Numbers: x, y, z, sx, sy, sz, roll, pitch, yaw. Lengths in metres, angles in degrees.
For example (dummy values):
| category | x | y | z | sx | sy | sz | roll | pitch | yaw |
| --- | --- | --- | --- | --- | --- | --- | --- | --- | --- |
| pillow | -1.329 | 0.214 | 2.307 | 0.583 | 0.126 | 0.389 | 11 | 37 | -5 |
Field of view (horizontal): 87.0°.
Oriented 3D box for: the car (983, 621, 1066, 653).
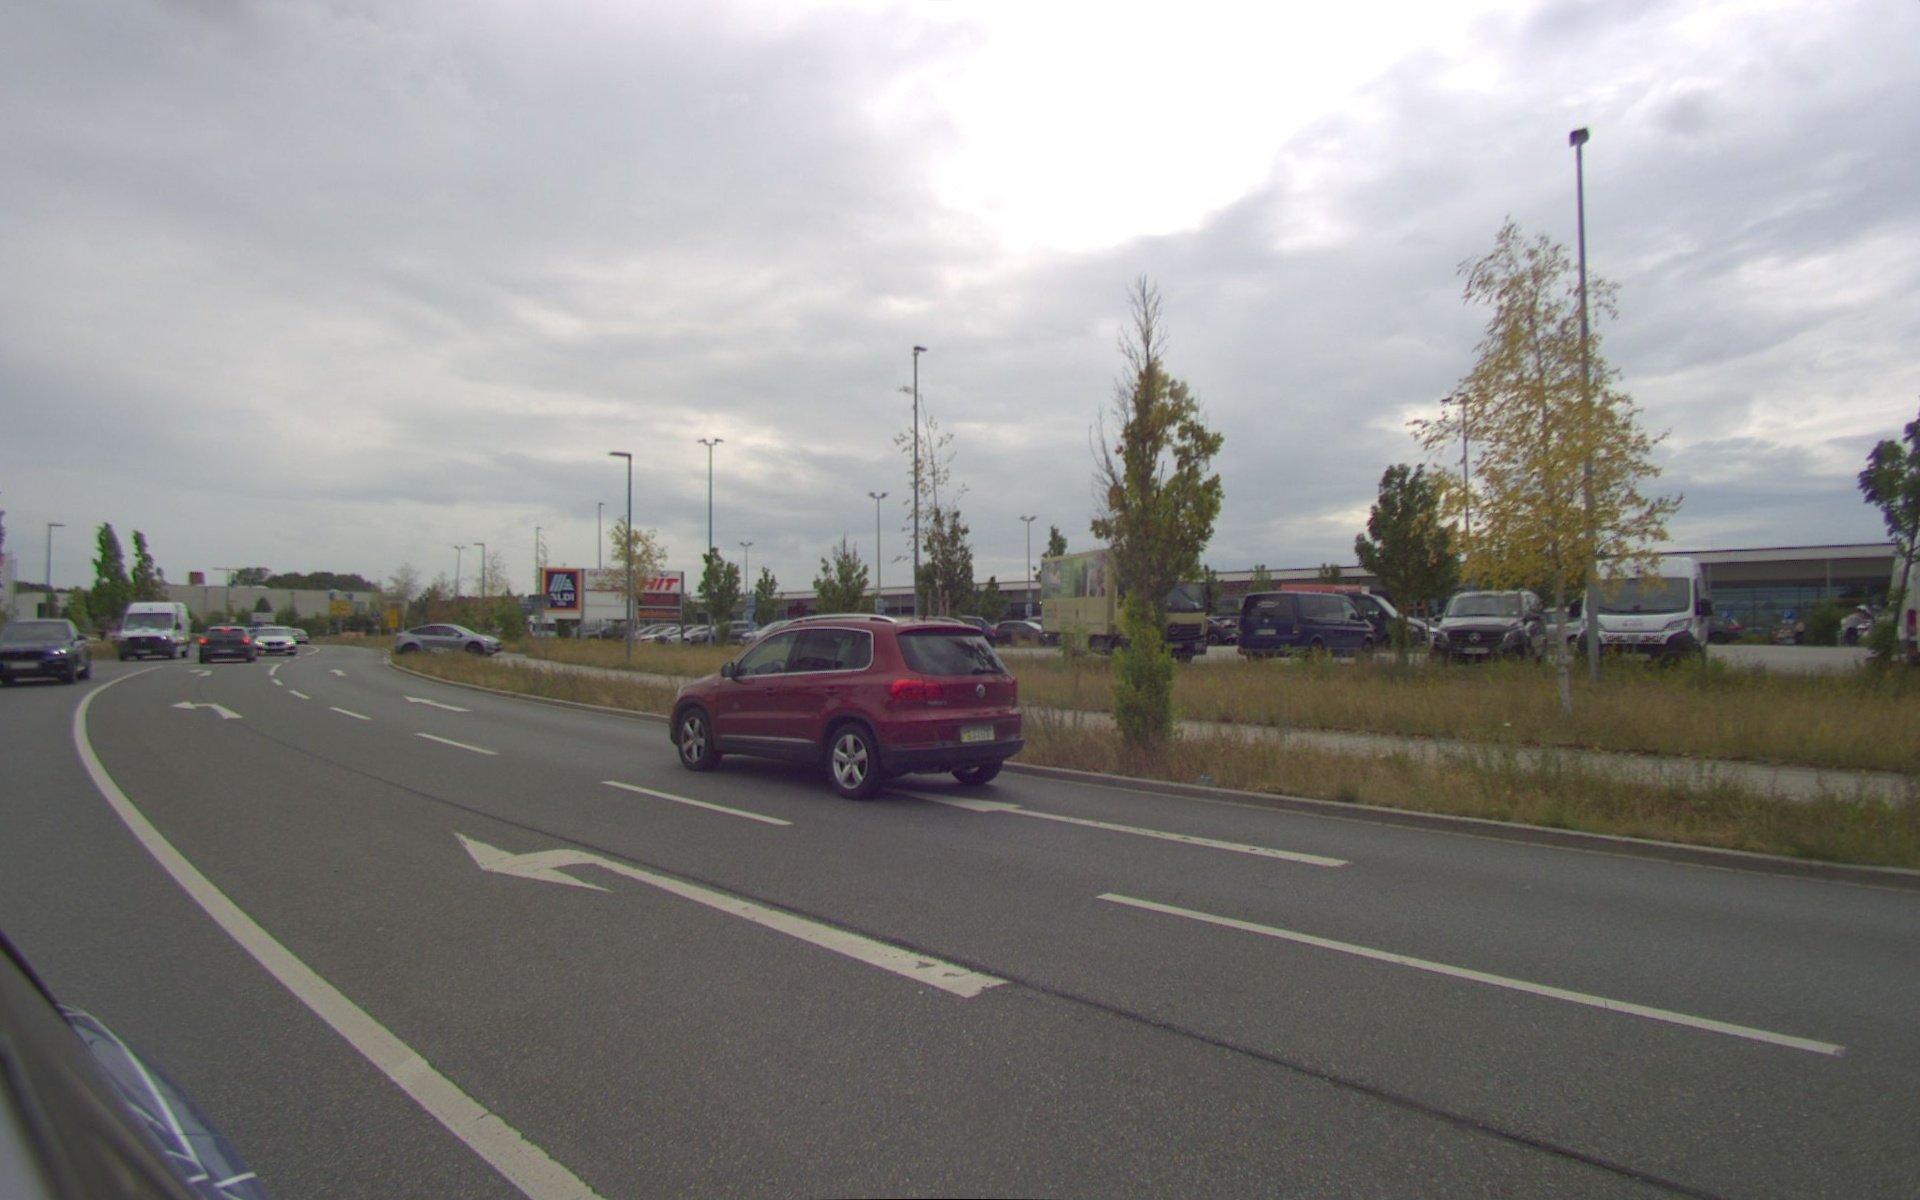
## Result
| category | x | y | z | sx | sy | sz | roll | pitch | yaw |
| --- | --- | --- | --- | --- | --- | --- | --- | --- | --- |
| car | 3.388 | 1.992 | 53.811 | 3.992 | 1.619 | 1.975 | -2 | -3 | 36 |

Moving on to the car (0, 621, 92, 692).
| category | x | y | z | sx | sy | sz | roll | pitch | yaw |
| --- | --- | --- | --- | --- | --- | --- | --- | --- | --- |
| car | -23.807 | 1.427 | 25.992 | 1.967 | 1.677 | 4.009 | 0 | -2 | -36 |

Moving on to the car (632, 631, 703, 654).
| category | x | y | z | sx | sy | sz | roll | pitch | yaw |
| --- | --- | --- | --- | --- | --- | --- | --- | --- | --- |
| car | -19.783 | 2.867 | 68.512 | 4.259 | 1.468 | 2.016 | 1 | -3 | -33 |

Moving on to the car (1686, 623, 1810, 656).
| category | x | y | z | sx | sy | sz | roll | pitch | yaw |
| --- | --- | --- | --- | --- | --- | --- | --- | --- | --- |
| car | 41.414 | 2.089 | 53.306 | 5.050 | 1.663 | 1.974 | -1 | -3 | 38 |

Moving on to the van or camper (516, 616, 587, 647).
| category | x | y | z | sx | sy | sz | roll | pitch | yaw |
| --- | --- | --- | --- | --- | --- | --- | --- | --- | --- |
| van or camper | -38.537 | 2.995 | 95.473 | 5.779 | 2.821 | 2.247 | 2 | -2 | -41 |

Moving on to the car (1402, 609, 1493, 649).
| category | x | y | z | sx | sy | sz | roll | pitch | yaw |
| --- | --- | --- | --- | --- | --- | --- | --- | --- | --- |
| car | 25.610 | 1.552 | 53.193 | 3.992 | 2.029 | 1.976 | -2 | -2 | 36 |

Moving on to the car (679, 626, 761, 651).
| category | x | y | z | sx | sy | sz | roll | pitch | yaw |
| --- | --- | --- | --- | --- | --- | --- | --- | --- | --- |
| car | -14.175 | 2.264 | 59.884 | 4.297 | 1.402 | 2.172 | 1 | -3 | -30 |

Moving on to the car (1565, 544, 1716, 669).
| category | x | y | z | sx | sy | sz | roll | pitch | yaw |
| --- | --- | --- | --- | --- | --- | --- | --- | --- | --- |
| car | 14.851 | 0.203 | 21.904 | 2.208 | 2.324 | 6.009 | -2 | -2 | 38 |

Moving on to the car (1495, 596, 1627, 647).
| category | x | y | z | sx | sy | sz | roll | pitch | yaw |
| --- | --- | --- | --- | --- | --- | --- | --- | --- | --- |
| car | 23.013 | 0.844 | 38.810 | 4.256 | 1.863 | 1.977 | -1 | -2 | 34 |

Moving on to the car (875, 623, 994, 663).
| category | x | y | z | sx | sy | sz | roll | pitch | yaw |
| --- | --- | --- | --- | --- | --- | --- | --- | --- | --- |
| car | -0.946 | 1.619 | 38.405 | 4.177 | 1.446 | 2.002 | 2 | -3 | -38 |

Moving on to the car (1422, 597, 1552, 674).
| category | x | y | z | sx | sy | sz | roll | pitch | yaw |
| --- | --- | --- | --- | --- | --- | --- | --- | --- | --- |
| car | 12.592 | 0.840 | 24.011 | 1.991 | 1.629 | 4.857 | -1 | -2 | 37 |

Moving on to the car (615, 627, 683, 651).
| category | x | y | z | sx | sy | sz | roll | pitch | yaw |
| --- | --- | --- | --- | --- | --- | --- | --- | --- | --- |
| car | -22.391 | 2.798 | 72.841 | 4.242 | 1.667 | 2.086 | 1 | -3 | -33 |

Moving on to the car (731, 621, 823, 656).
| category | x | y | z | sx | sy | sz | roll | pitch | yaw |
| --- | --- | --- | --- | --- | --- | --- | --- | --- | --- |
| car | -9.310 | 1.942 | 51.554 | 4.186 | 1.736 | 2.033 | 1 | -2 | -36 |

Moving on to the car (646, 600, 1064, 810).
| category | x | y | z | sx | sy | sz | roll | pitch | yaw |
| --- | --- | --- | --- | --- | --- | --- | --- | --- | --- |
| car | -1.222 | 0.950 | 10.269 | 4.326 | 1.682 | 1.779 | -2 | -5 | 43 |

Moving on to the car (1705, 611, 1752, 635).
| category | x | y | z | sx | sy | sz | roll | pitch | yaw |
| --- | --- | --- | --- | --- | --- | --- | --- | --- | --- |
| car | 52.323 | 1.592 | 68.883 | 2.001 | 1.619 | 3.942 | -2 | -3 | 44 |

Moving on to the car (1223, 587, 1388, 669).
| category | x | y | z | sx | sy | sz | roll | pitch | yaw |
| --- | --- | --- | --- | --- | --- | --- | --- | --- | --- |
| car | 9.359 | 0.757 | 27.215 | 4.843 | 2.005 | 2.181 | 2 | -3 | -43 |

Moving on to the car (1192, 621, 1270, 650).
| category | x | y | z | sx | sy | sz | roll | pitch | yaw |
| --- | --- | --- | --- | --- | --- | --- | --- | --- | --- |
| car | 15.871 | 2.102 | 59.398 | 3.992 | 1.619 | 1.975 | -2 | -3 | 36 |

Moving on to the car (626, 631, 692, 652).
| category | x | y | z | sx | sy | sz | roll | pitch | yaw |
| --- | --- | --- | --- | --- | --- | --- | --- | --- | --- |
| car | -21.007 | 2.881 | 70.682 | 4.027 | 1.402 | 2.006 | 1 | -3 | -30 |

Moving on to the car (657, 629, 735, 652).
| category | x | y | z | sx | sy | sz | roll | pitch | yaw |
| --- | --- | --- | --- | --- | --- | --- | --- | --- | --- |
| car | -16.473 | 2.534 | 63.162 | 4.255 | 1.350 | 2.032 | 1 | -3 | -35 |

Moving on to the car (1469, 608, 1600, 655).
| category | x | y | z | sx | sy | sz | roll | pitch | yaw |
| --- | --- | --- | --- | --- | --- | --- | --- | --- | --- |
| car | 20.612 | 1.124 | 36.363 | 3.990 | 1.614 | 1.654 | -1 | -2 | 34 |

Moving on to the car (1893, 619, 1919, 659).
| category | x | y | z | sx | sy | sz | roll | pitch | yaw |
| --- | --- | --- | --- | --- | --- | --- | --- | --- | --- |
| car | 41.980 | 1.650 | 42.467 | 3.995 | 1.663 | 1.974 | -2 | -3 | 39 |

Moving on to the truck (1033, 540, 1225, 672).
| category | x | y | z | sx | sy | sz | roll | pitch | yaw |
| --- | --- | --- | --- | --- | --- | --- | --- | --- | --- |
| truck | 4.959 | 0.276 | 31.902 | 2.811 | 3.568 | 8.451 | 0 | -2 | -14 |

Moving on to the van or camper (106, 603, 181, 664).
| category | x | y | z | sx | sy | sz | roll | pitch | yaw |
| --- | --- | --- | --- | --- | --- | --- | --- | --- | --- |
| van or camper | -37.309 | 1.557 | 46.394 | 2.228 | 2.637 | 5.711 | 2 | -3 | -35 |

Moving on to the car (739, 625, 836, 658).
| category | x | y | z | sx | sy | sz | roll | pitch | yaw |
| --- | --- | --- | --- | --- | --- | --- | --- | --- | --- |
| car | -8.335 | 1.986 | 48.995 | 4.183 | 1.525 | 2.052 | 0 | -2 | -31 |

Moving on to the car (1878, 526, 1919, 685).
| category | x | y | z | sx | sy | sz | roll | pitch | yaw |
| --- | --- | --- | --- | --- | --- | --- | --- | --- | --- |
| car | 18.545 | 0.137 | 18.495 | 2.242 | 2.618 | 6.343 | -2 | -2 | 39 |

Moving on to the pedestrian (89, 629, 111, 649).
| category | x | y | z | sx | sy | sz | roll | pitch | yaw |
| --- | --- | --- | --- | --- | --- | --- | --- | --- | --- |
| pedestrian | -80.708 | 3.644 | 94.954 | 1.057 | 1.872 | 1.197 | 1 | -2 | -9 |

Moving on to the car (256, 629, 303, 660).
| category | x | y | z | sx | sy | sz | roll | pitch | yaw |
| --- | --- | --- | --- | --- | --- | --- | --- | --- | --- |
| car | -34.564 | 2.232 | 51.347 | 1.855 | 1.480 | 4.203 | 2 | -2 | -35 |

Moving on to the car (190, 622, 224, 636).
| category | x | y | z | sx | sy | sz | roll | pitch | yaw |
| --- | --- | --- | --- | --- | --- | --- | --- | --- | --- |
| car | -114.226 | 4.375 | 153.540 | 1.630 | 2.029 | 3.974 | -1 | -2 | 19 |

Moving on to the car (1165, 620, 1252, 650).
| category | x | y | z | sx | sy | sz | roll | pitch | yaw |
| --- | --- | --- | --- | --- | --- | --- | --- | --- | --- |
| car | 13.998 | 1.980 | 57.106 | 4.383 | 1.619 | 1.973 | -2 | -3 | 41 |

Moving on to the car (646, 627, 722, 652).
| category | x | y | z | sx | sy | sz | roll | pitch | yaw |
| --- | --- | --- | --- | --- | --- | --- | --- | --- | --- |
| car | -17.904 | 2.566 | 65.755 | 4.305 | 1.517 | 2.246 | 1 | -3 | -31 |

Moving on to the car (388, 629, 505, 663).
| category | x | y | z | sx | sy | sz | roll | pitch | yaw |
| --- | --- | --- | --- | --- | --- | --- | --- | --- | --- |
| car | -24.331 | 2.188 | 48.113 | 4.541 | 1.573 | 2.002 | 0 | -2 | -6 |

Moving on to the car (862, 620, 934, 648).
| category | x | y | z | sx | sy | sz | roll | pitch | yaw |
| --- | --- | --- | --- | --- | --- | --- | --- | --- | --- |
| car | -4.051 | 2.218 | 65.945 | 4.578 | 1.760 | 1.974 | -2 | -2 | 38 |

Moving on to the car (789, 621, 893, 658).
| category | x | y | z | sx | sy | sz | roll | pitch | yaw |
| --- | --- | --- | --- | --- | --- | --- | --- | --- | --- |
| car | -5.221 | 1.742 | 44.702 | 4.194 | 1.571 | 1.992 | 2 | -3 | -41 |

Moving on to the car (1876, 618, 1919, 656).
| category | x | y | z | sx | sy | sz | roll | pitch | yaw |
| --- | --- | --- | --- | --- | --- | --- | --- | --- | --- |
| car | 43.052 | 1.624 | 44.456 | 3.994 | 1.663 | 1.974 | -1 | -3 | 38 |

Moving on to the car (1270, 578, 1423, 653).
| category | x | y | z | sx | sy | sz | roll | pitch | yaw |
| --- | --- | --- | --- | --- | --- | --- | --- | --- | --- |
| car | 14.683 | 0.653 | 38.574 | 5.131 | 2.711 | 2.041 | -2 | -3 | 33 |

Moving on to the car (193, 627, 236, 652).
| category | x | y | z | sx | sy | sz | roll | pitch | yaw |
| --- | --- | --- | --- | --- | --- | --- | --- | --- | --- |
| car | -49.497 | 2.585 | 67.132 | 1.732 | 1.597 | 4.002 | 1 | -2 | -45 |

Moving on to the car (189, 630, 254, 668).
| category | x | y | z | sx | sy | sz | roll | pitch | yaw |
| --- | --- | --- | --- | --- | --- | --- | --- | --- | --- |
| car | -29.385 | 1.926 | 40.371 | 1.804 | 1.431 | 4.257 | 1 | -2 | -33 |

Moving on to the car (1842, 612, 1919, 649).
| category | x | y | z | sx | sy | sz | roll | pitch | yaw |
| --- | --- | --- | --- | --- | --- | --- | --- | --- | --- |
| car | 43.994 | 1.433 | 47.295 | 3.994 | 1.663 | 1.974 | -1 | -3 | 38 |
